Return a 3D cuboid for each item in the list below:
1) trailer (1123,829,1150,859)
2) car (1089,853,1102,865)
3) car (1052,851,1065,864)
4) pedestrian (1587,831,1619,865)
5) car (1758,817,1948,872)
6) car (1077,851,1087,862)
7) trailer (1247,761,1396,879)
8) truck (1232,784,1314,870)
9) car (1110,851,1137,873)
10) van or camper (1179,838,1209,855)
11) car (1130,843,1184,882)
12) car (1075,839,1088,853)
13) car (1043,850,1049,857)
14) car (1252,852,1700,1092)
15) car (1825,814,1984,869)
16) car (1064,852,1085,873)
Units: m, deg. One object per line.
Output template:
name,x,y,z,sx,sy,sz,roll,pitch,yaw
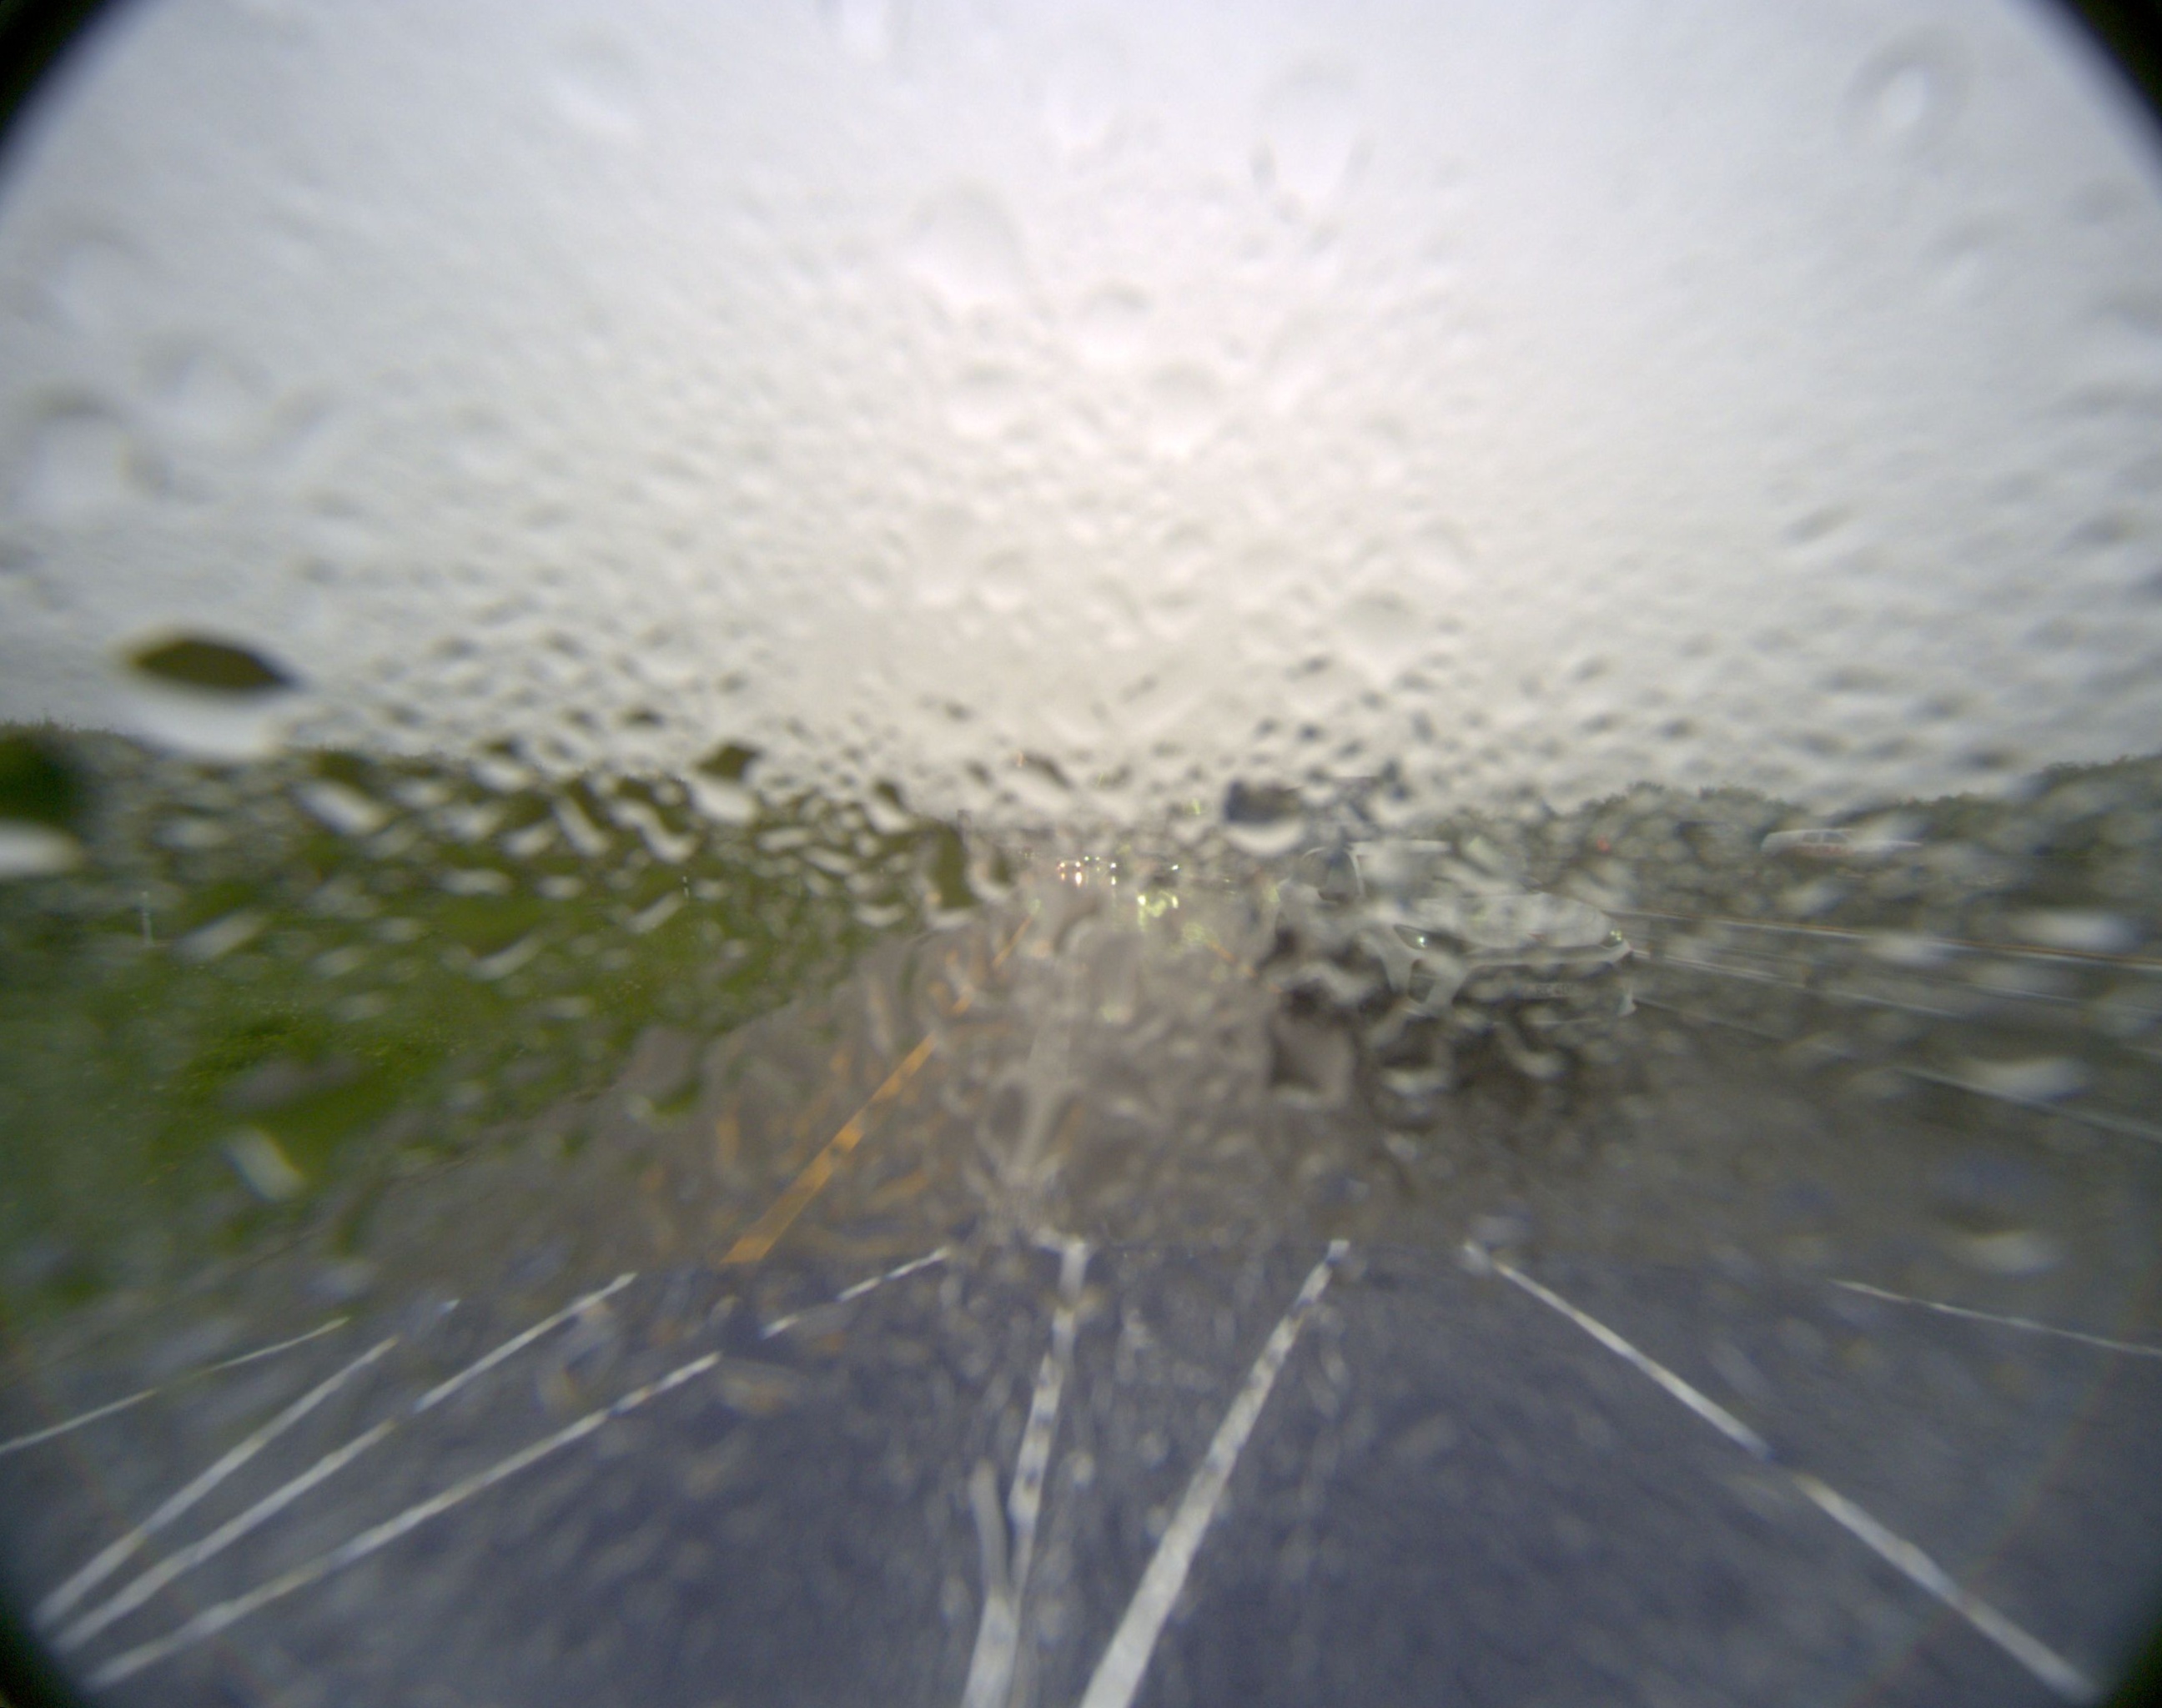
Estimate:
trailer,7.910,-1.473,110.301,2.619,3.984,11.924,-3,1,-1
car,1.888,0.608,100.532,1.589,1.528,3.831,-1,1,0
car,-3.205,0.514,107.975,1.674,1.804,3.998,-1,1,-3
pedestrian,32.629,-0.377,47.507,1.108,2.002,1.126,-3,1,-3
car,30.507,-0.367,30.355,2.099,1.955,5.364,-2,0,0
car,0.136,0.378,130.038,1.673,1.804,3.999,-1,1,-1
trailer,9.830,-1.252,32.931,2.606,4.054,12.431,-2,1,1
truck,9.961,-1.298,40.119,2.630,4.058,6.669,-2,0,1
car,3.134,0.549,56.771,1.792,1.480,4.000,-3,1,2
van or camper,23.593,-1.614,158.675,5.421,3.325,3.376,-3,1,-4
car,3.437,0.354,35.115,2.069,1.618,5.195,-2,0,2
car,0.185,-2.357,217.480,3.306,3.718,9.398,-3,1,-1
car,-10.076,-0.142,219.288,1.673,1.804,3.999,-1,1,-1
car,3.213,0.793,7.600,1.932,1.542,5.006,-1,1,1
car,34.894,-0.519,32.483,2.365,2.064,5.586,-1,1,21
car,-0.585,0.763,70.627,1.881,1.772,3.999,-1,1,0
